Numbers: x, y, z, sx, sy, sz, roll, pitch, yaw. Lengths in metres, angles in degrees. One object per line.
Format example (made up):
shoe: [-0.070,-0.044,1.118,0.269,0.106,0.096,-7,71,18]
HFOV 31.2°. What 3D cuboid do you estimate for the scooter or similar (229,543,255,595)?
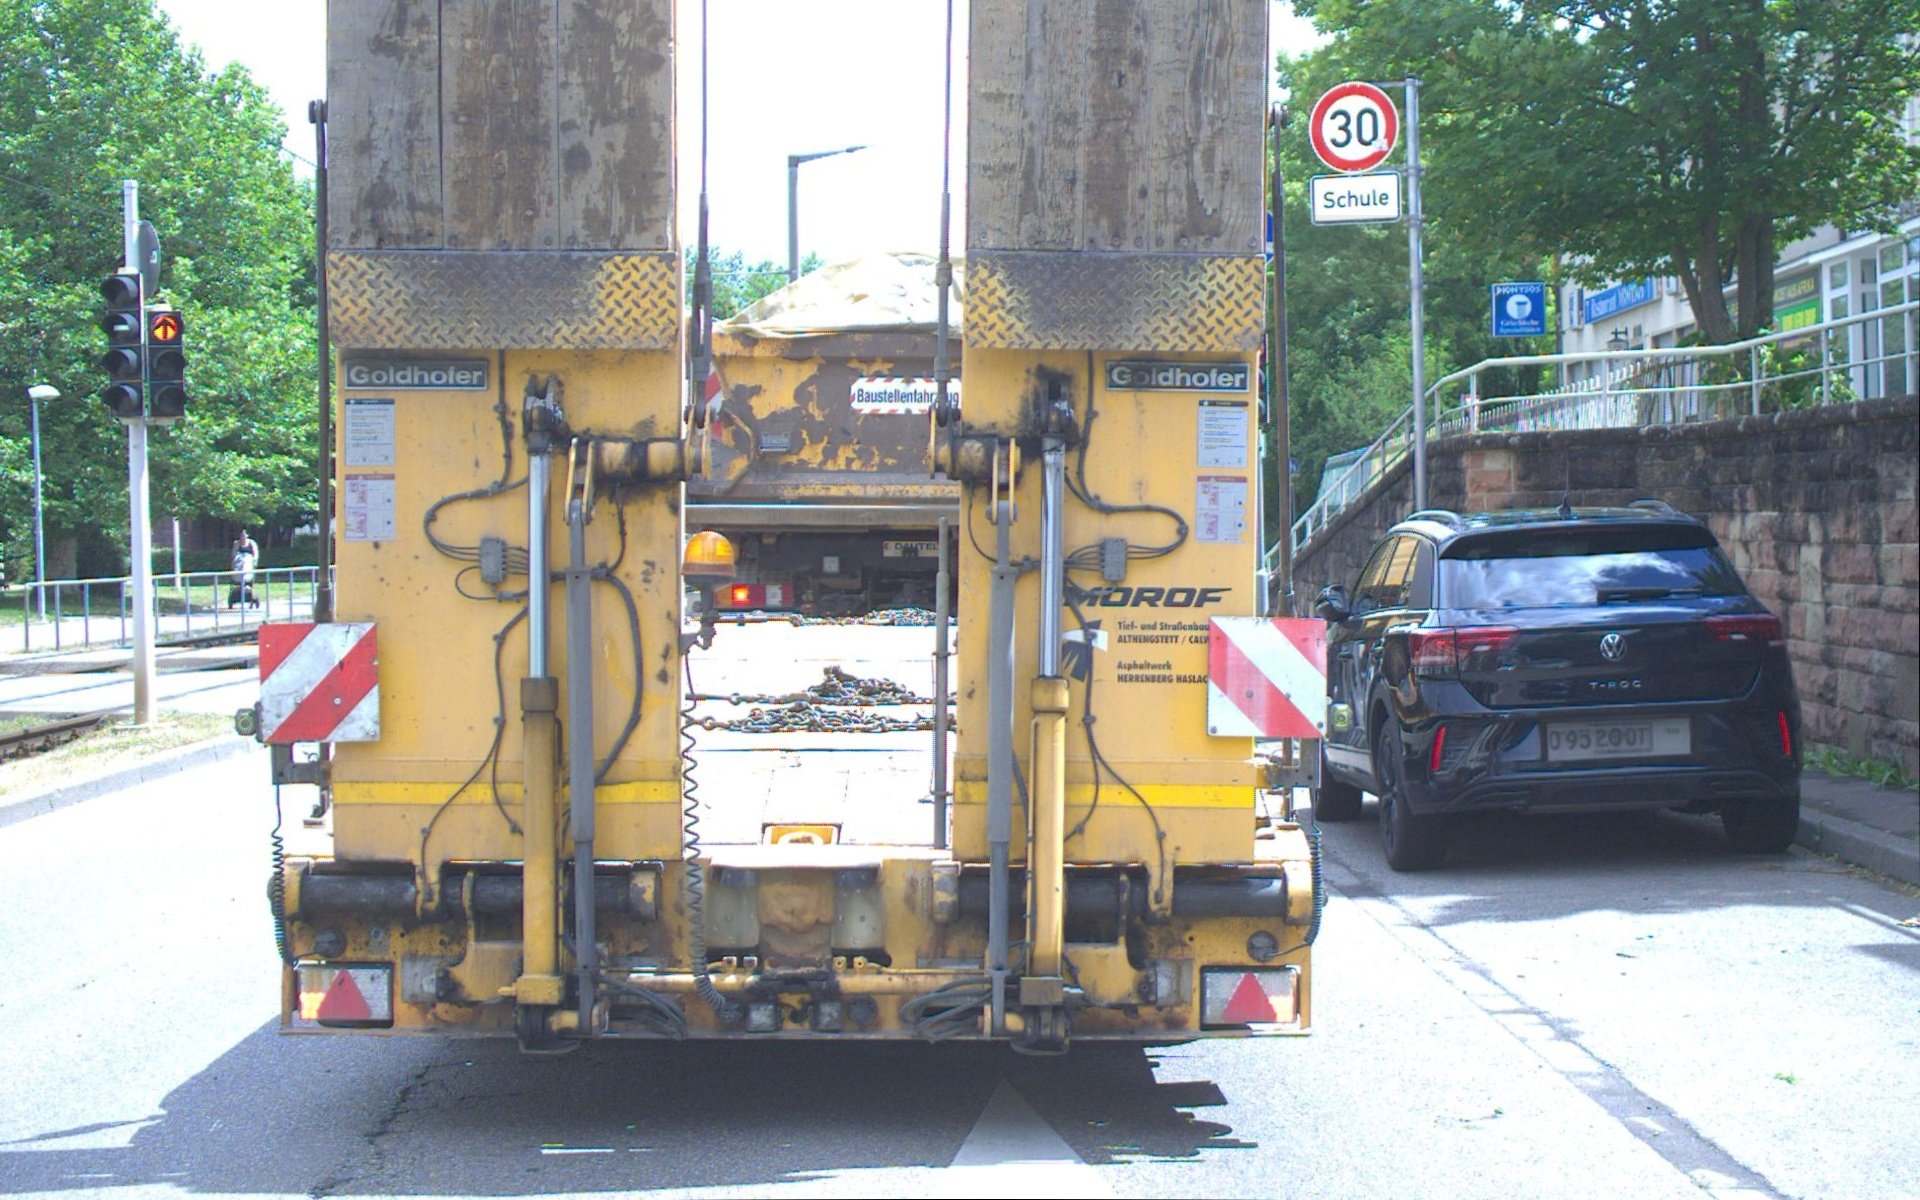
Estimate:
scooter or similar: [-14.781,-0.642,70.792,0.338,1.054,0.687,-1,1,2]

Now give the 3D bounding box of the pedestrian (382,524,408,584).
pedestrian: [-14.478,-1.183,88.083,0.563,1.508,0.646,1,1,-1]

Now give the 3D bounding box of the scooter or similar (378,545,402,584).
scooter or similar: [-14.492,-0.905,87.439,0.505,0.968,0.646,1,1,-1]

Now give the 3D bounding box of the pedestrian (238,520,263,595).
pedestrian: [-14.744,-0.886,71.433,0.348,1.531,0.557,-1,1,3]

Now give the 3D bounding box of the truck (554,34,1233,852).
truck: [-0.295,-0.746,17.627,2.942,3.560,4.877,-1,1,0]

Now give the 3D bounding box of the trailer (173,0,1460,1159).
trailer: [-0.312,-0.616,12.316,2.945,3.589,8.684,-1,1,0]

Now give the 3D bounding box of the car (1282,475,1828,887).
car: [2.644,0.292,16.196,1.851,1.633,4.000,-2,1,0]
